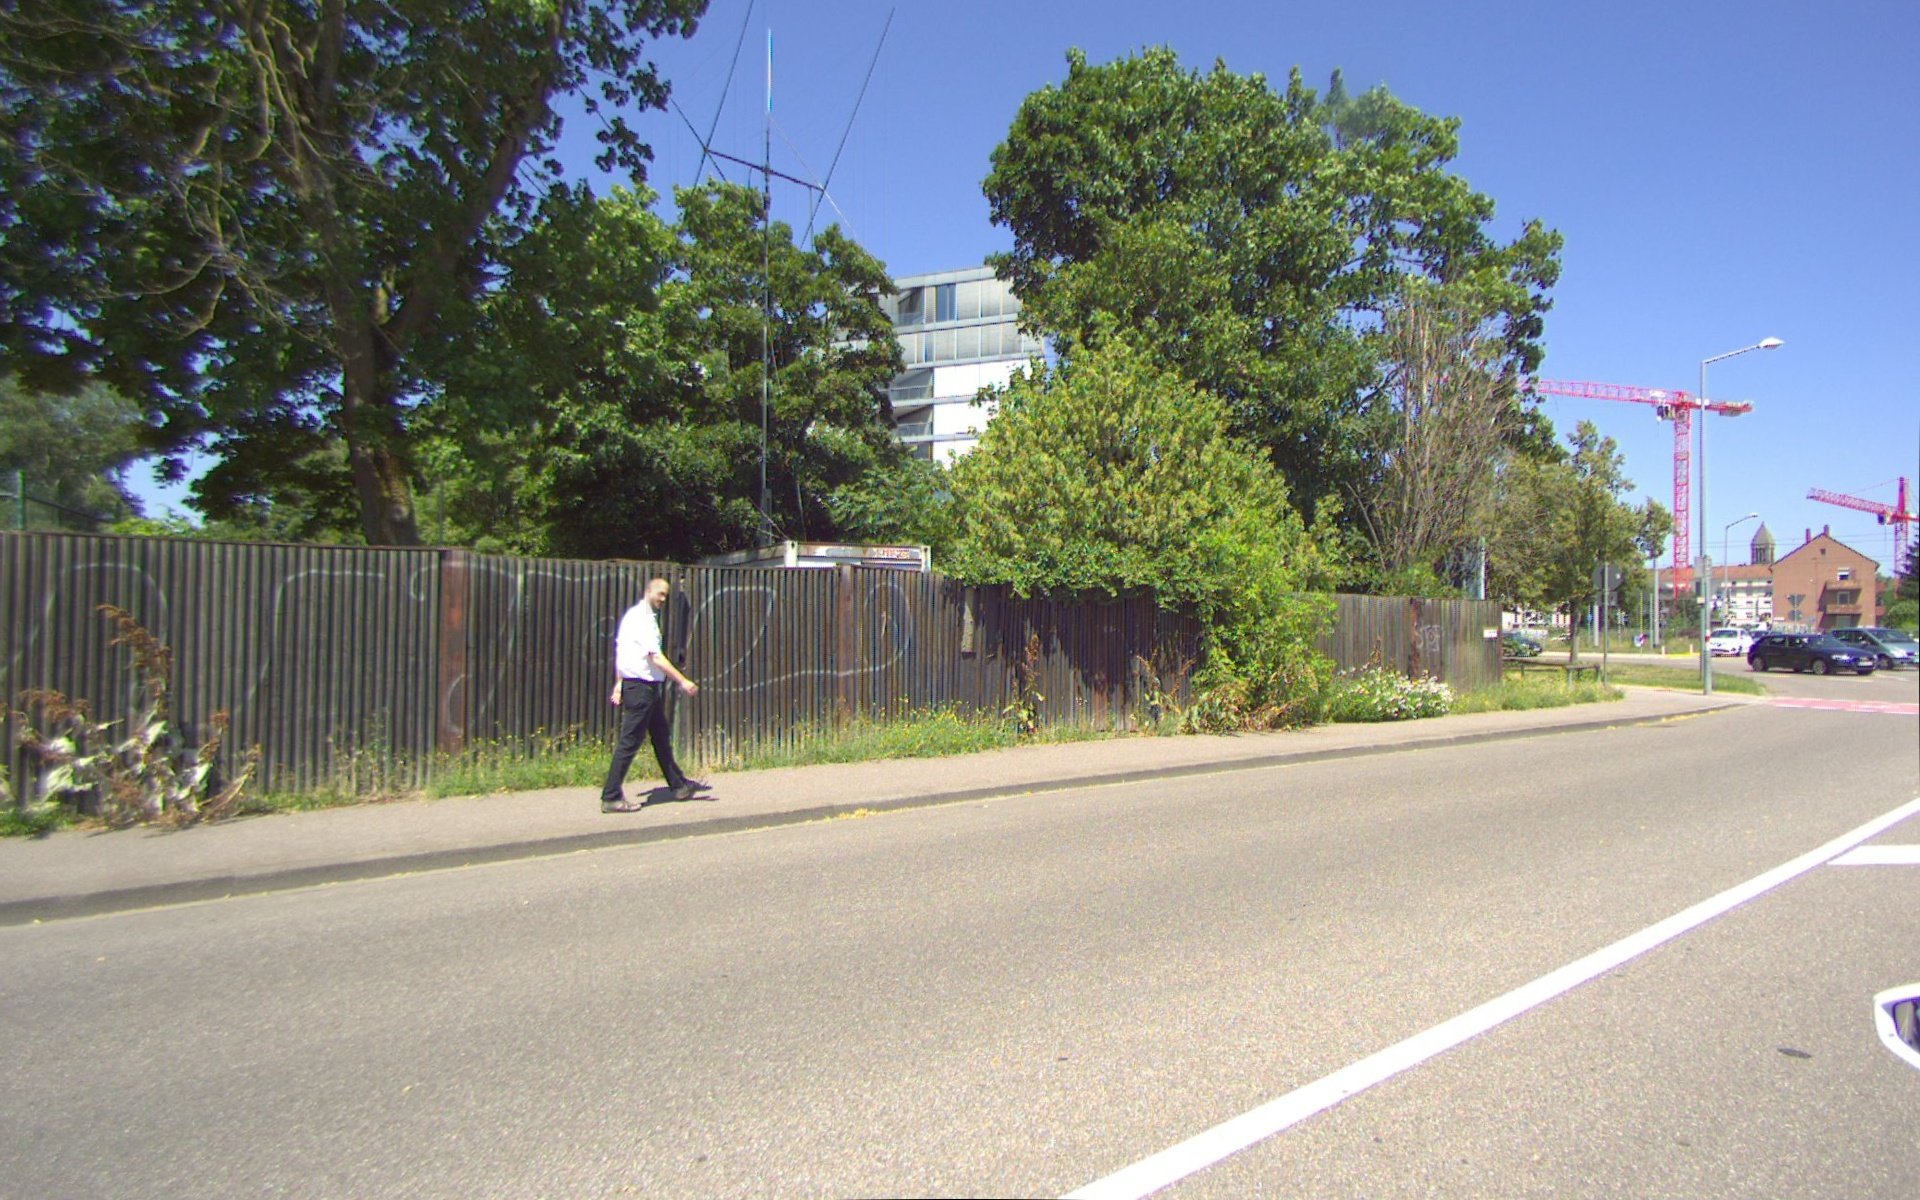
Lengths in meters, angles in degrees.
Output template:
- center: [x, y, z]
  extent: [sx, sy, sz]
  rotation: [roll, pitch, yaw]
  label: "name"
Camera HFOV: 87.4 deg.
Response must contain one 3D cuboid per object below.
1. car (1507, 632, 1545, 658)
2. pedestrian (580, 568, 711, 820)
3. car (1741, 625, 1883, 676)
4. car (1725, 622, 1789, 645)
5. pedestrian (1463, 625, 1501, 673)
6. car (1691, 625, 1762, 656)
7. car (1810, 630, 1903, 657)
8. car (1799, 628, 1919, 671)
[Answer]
- center: [35.099, 2.780, 62.410]
  extent: [1.789, 1.466, 4.528]
  rotation: [1, -1, 26]
  label: "car"
- center: [-2.458, 0.698, 7.849]
  extent: [0.841, 1.849, 0.589]
  rotation: [1, 0, -30]
  label: "pedestrian"
- center: [30.738, 1.777, 36.422]
  extent: [1.703, 1.641, 4.012]
  rotation: [1, -1, -1]
  label: "car"
- center: [46.548, 1.968, 58.664]
  extent: [3.742, 1.253, 1.699]
  rotation: [2, -1, -30]
  label: "car"
- center: [17.800, 1.661, 34.258]
  extent: [0.796, 1.584, 0.876]
  rotation: [1, 0, -7]
  label: "pedestrian"
- center: [42.215, 2.227, 55.295]
  extent: [3.953, 1.570, 1.748]
  rotation: [2, -1, -30]
  label: "car"
- center: [55.606, 2.689, 62.321]
  extent: [4.136, 1.520, 1.713]
  rotation: [1, -1, 3]
  label: "car"
- center: [35.064, 1.880, 38.890]
  extent: [1.765, 1.516, 4.000]
  rotation: [1, -1, -1]
  label: "car"
